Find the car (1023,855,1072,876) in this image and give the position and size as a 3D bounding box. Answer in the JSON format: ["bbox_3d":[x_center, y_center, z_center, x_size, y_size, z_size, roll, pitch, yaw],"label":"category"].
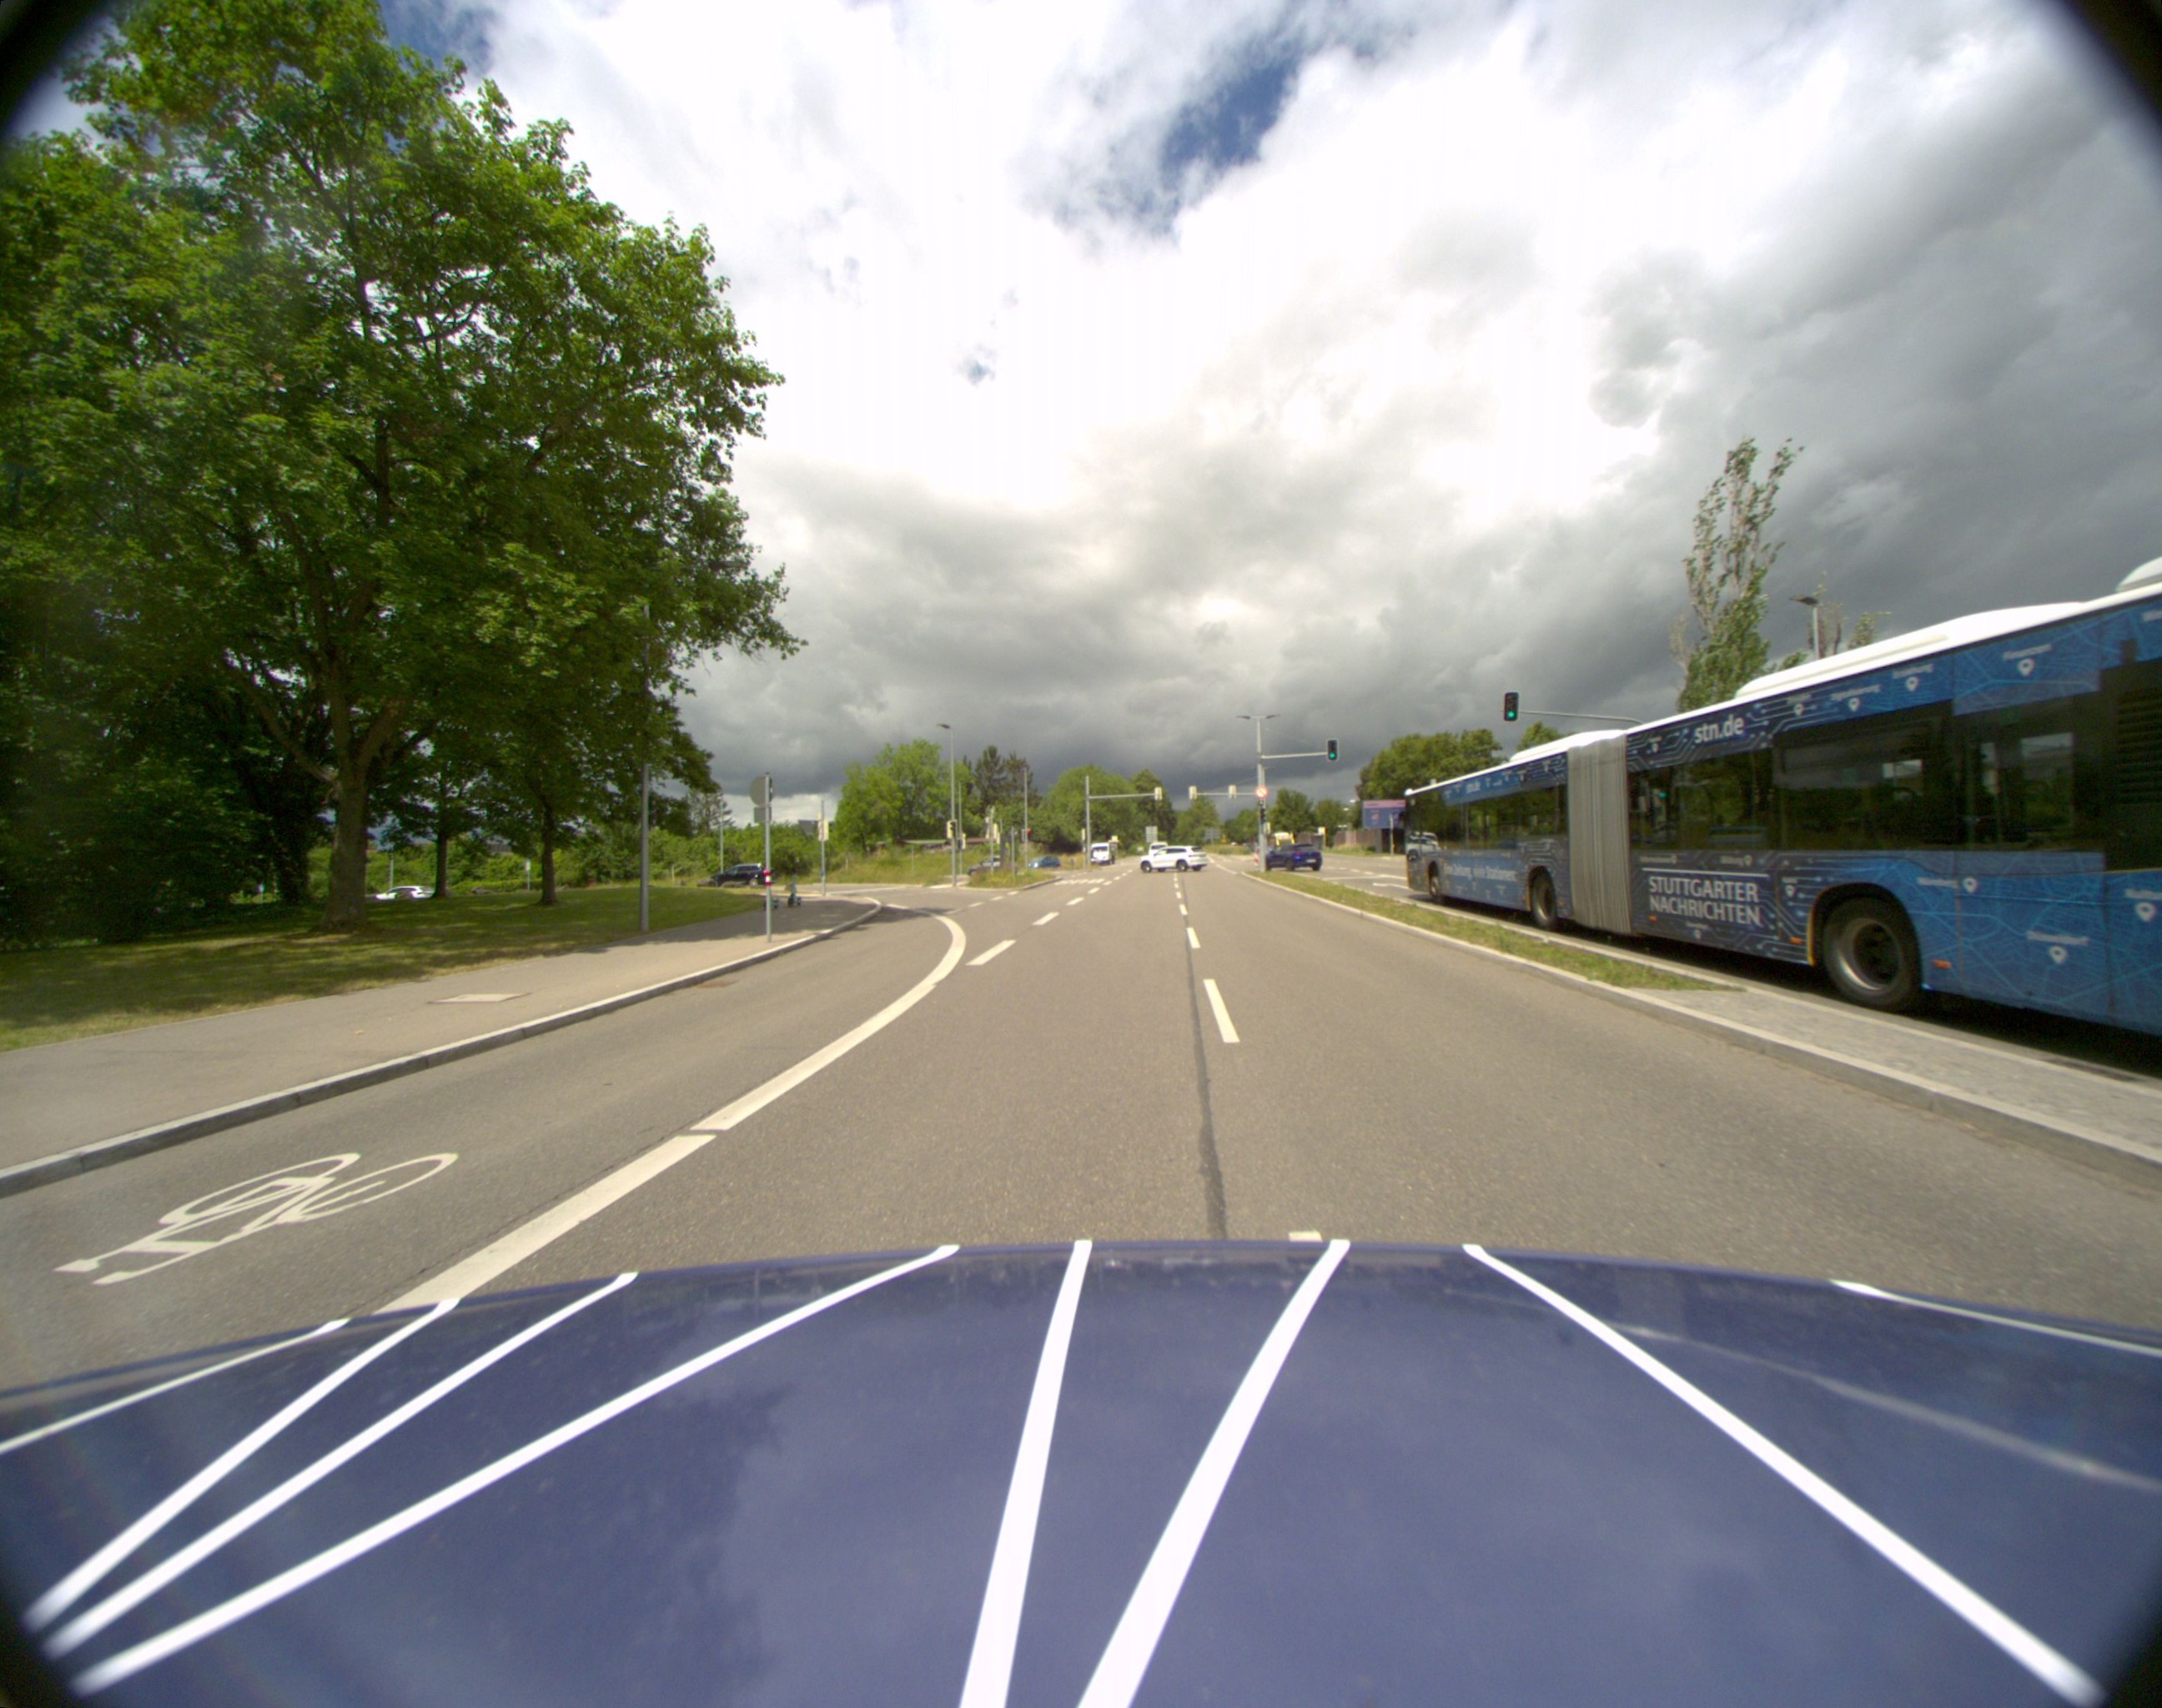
[{"bbox_3d":[-2.982,0.996,67.725,1.905,1.627,4.456,-2,1,37],"label":"car"}]

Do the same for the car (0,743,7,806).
[{"bbox_3d":[-29.816,-2.112,18.723,1.723,1.531,3.711,-5,-4,29],"label":"car"}]

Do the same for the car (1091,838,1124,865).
[{"bbox_3d":[2.824,-0.265,80.032,2.161,2.635,5.831,-2,0,14],"label":"car"}]

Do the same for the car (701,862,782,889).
[{"bbox_3d":[-24.643,1.529,55.207,4.977,1.680,1.911,-2,1,4],"label":"car"}]

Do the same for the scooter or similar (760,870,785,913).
[{"bbox_3d":[-9.330,1.113,23.023,0.534,1.256,1.188,0,0,-15],"label":"scooter or similar"}]

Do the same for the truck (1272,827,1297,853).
[{"bbox_3d":[33.029,-2.239,123.564,2.843,3.555,6.976,-2,-4,8],"label":"truck"}]

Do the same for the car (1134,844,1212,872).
[{"bbox_3d":[5.888,0.268,49.039,4.888,1.649,1.737,-3,0,44],"label":"car"}]

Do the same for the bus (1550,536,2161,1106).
[{"bbox_3d":[7.830,-0.217,6.866,2.820,3.145,8.914,-2,0,9],"label":"bus"}]

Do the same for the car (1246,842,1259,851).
[{"bbox_3d":[30.131,-1.312,133.617,1.694,1.391,4.005,-2,-3,8],"label":"car"}]

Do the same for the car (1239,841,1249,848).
[{"bbox_3d":[33.351,-1.892,155.367,1.694,1.392,4.002,-2,0,8],"label":"car"}]

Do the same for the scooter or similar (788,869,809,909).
[{"bbox_3d":[-9.110,1.118,24.522,0.534,1.256,1.188,0,0,-15],"label":"scooter or similar"}]

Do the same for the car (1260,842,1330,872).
[{"bbox_3d":[11.751,0.198,42.060,1.811,1.502,4.394,-2,0,-12],"label":"car"}]

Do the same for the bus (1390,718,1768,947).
[{"bbox_3d":[9.383,-0.352,16.282,2.820,3.266,10.126,-2,0,9],"label":"bus"}]

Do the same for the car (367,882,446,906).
[{"bbox_3d":[-50.616,3.003,57.102,4.375,1.461,1.622,-3,1,-1],"label":"car"}]

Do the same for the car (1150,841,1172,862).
[{"bbox_3d":[7.657,-0.265,73.016,1.908,1.926,4.972,-2,1,5],"label":"car"}]

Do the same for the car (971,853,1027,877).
[{"bbox_3d":[-5.753,0.777,53.154,3.518,1.451,1.588,-3,-3,13],"label":"car"}]
